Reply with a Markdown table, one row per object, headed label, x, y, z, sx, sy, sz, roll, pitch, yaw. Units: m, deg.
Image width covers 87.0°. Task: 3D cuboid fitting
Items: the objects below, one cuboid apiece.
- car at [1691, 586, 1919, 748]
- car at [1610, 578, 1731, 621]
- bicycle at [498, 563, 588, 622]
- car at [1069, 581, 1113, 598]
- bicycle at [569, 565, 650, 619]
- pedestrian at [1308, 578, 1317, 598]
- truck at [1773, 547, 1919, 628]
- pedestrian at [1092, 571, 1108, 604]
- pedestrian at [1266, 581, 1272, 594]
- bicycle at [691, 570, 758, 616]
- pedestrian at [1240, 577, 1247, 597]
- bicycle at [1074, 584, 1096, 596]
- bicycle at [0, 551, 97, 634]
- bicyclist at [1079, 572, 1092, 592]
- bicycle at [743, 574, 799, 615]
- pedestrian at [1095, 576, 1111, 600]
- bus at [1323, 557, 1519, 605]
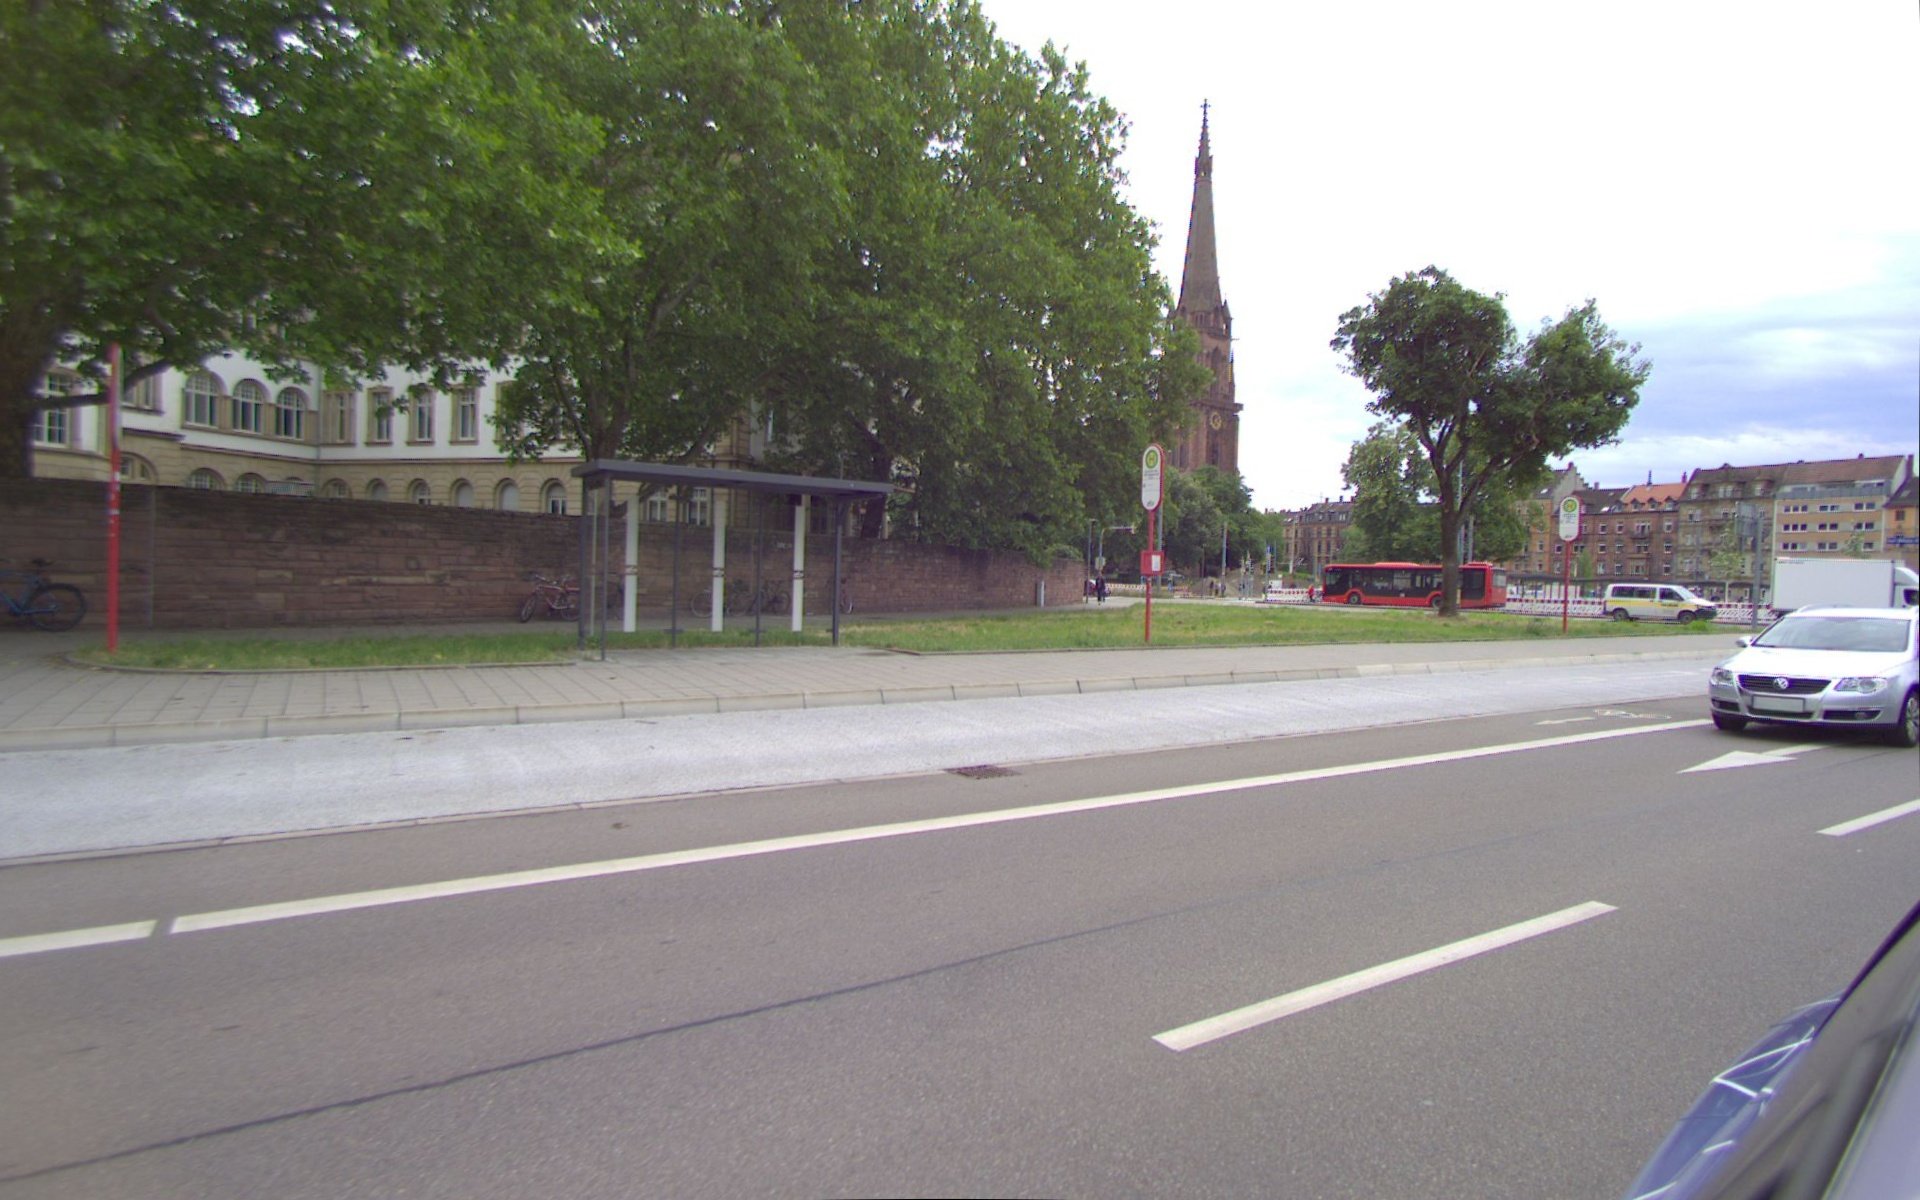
| label | x | y | z | sx | sy | sz | roll | pitch | yaw |
| --- | --- | --- | --- | --- | --- | --- | --- | --- | --- |
| car | 10.690 | 0.634 | 11.877 | 4.437 | 1.570 | 1.832 | -1 | 1 | -31 |
| car | 36.143 | -0.083 | 51.605 | 1.885 | 1.942 | 4.714 | -2 | 3 | -36 |
| bicycle | -8.657 | -0.166 | 21.055 | 0.591 | 1.150 | 1.695 | 4 | 3 | 31 |
| car | 11.008 | -0.900 | 85.435 | 3.528 | 1.170 | 1.424 | 5 | 4 | 45 |
| bicycle | -7.773 | -0.190 | 22.525 | 0.591 | 1.143 | 1.695 | 4 | 3 | 31 |
| pedestrian | 26.672 | -0.939 | 76.555 | 0.366 | 1.484 | 0.372 | 1 | 2 | -34 |
| truck | 41.024 | -0.589 | 45.264 | 2.514 | 3.453 | 6.851 | -1 | 2 | -38 |
| pedestrian | 7.505 | -0.678 | 54.334 | 0.745 | 1.756 | 0.821 | 3 | 2 | 8 |
| pedestrian | 30.228 | -1.222 | 98.950 | 0.365 | 1.210 | 0.374 | 1 | 2 | -34 |
| bicycle | -5.872 | -0.180 | 25.332 | 0.591 | 1.072 | 1.695 | 4 | 3 | 31 |
| pedestrian | 25.676 | -1.166 | 91.694 | 0.365 | 1.726 | 0.374 | 1 | 2 | -34 |
| bicycle | 10.192 | -0.810 | 82.503 | 1.815 | 0.830 | 0.592 | 5 | 3 | 42 |
| bicycle | -13.239 | -0.120 | 14.189 | 0.595 | 1.118 | 1.633 | 4 | 3 | 37 |
| bicyclist | 10.241 | -1.478 | 82.469 | 0.779 | 1.540 | 0.592 | 5 | 3 | 42 |
| bicycle | -4.985 | -0.159 | 26.792 | 0.546 | 1.004 | 1.621 | 4 | 3 | 28 |
| pedestrian | 10.060 | -0.848 | 71.192 | 0.678 | 1.659 | 0.875 | 2 | 0 | -19 |
| bus | 30.642 | -1.349 | 68.124 | 2.883 | 2.944 | 12.095 | 1 | 1 | -36 |
